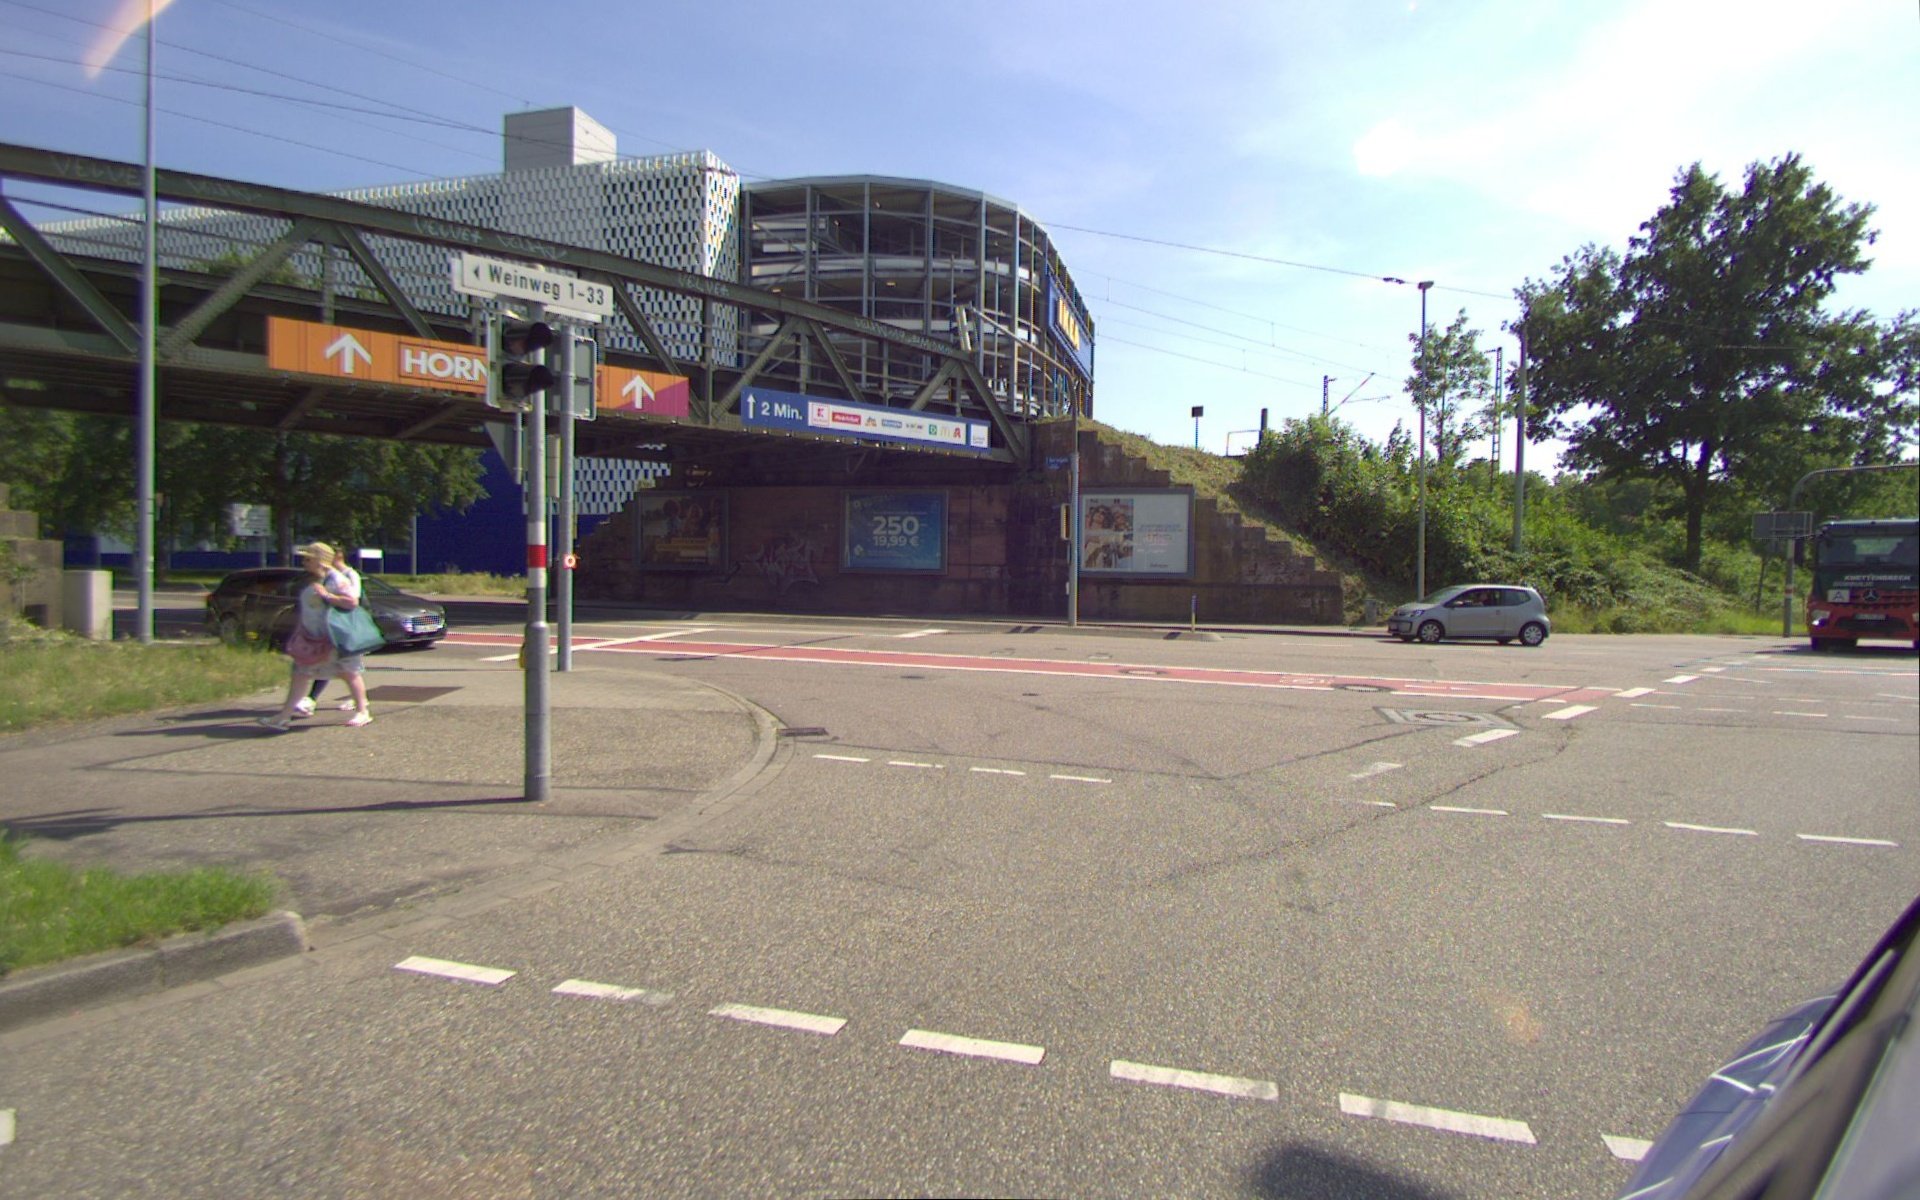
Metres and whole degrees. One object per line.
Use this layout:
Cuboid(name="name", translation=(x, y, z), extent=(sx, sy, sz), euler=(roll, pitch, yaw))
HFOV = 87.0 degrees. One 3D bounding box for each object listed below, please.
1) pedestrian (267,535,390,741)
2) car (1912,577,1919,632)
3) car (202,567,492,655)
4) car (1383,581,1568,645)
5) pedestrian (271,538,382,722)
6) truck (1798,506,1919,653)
Cuboid(name="pedestrian", translation=(-5.368, 0.292, 8.597), extent=(0.764, 1.632, 0.869), euler=(0, 1, -40))
Cuboid(name="car", translation=(37.645, 0.198, 38.236), extent=(3.930, 2.039, 1.997), euler=(0, 1, -41))
Cuboid(name="car", translation=(-11.111, 0.144, 18.440), extent=(4.435, 1.426, 1.992), euler=(1, 1, 14))
Cuboid(name="car", translation=(12.565, 0.284, 24.845), extent=(3.613, 1.455, 1.704), euler=(1, 1, 5))
Cuboid(name="pedestrian", translation=(-5.830, 0.253, 9.309), extent=(0.764, 1.599, 0.730), euler=(0, 1, -41))
Cuboid(name="truck", translation=(23.852, -0.494, 25.877), extent=(7.356, 3.307, 2.772), euler=(0, 1, -43))
